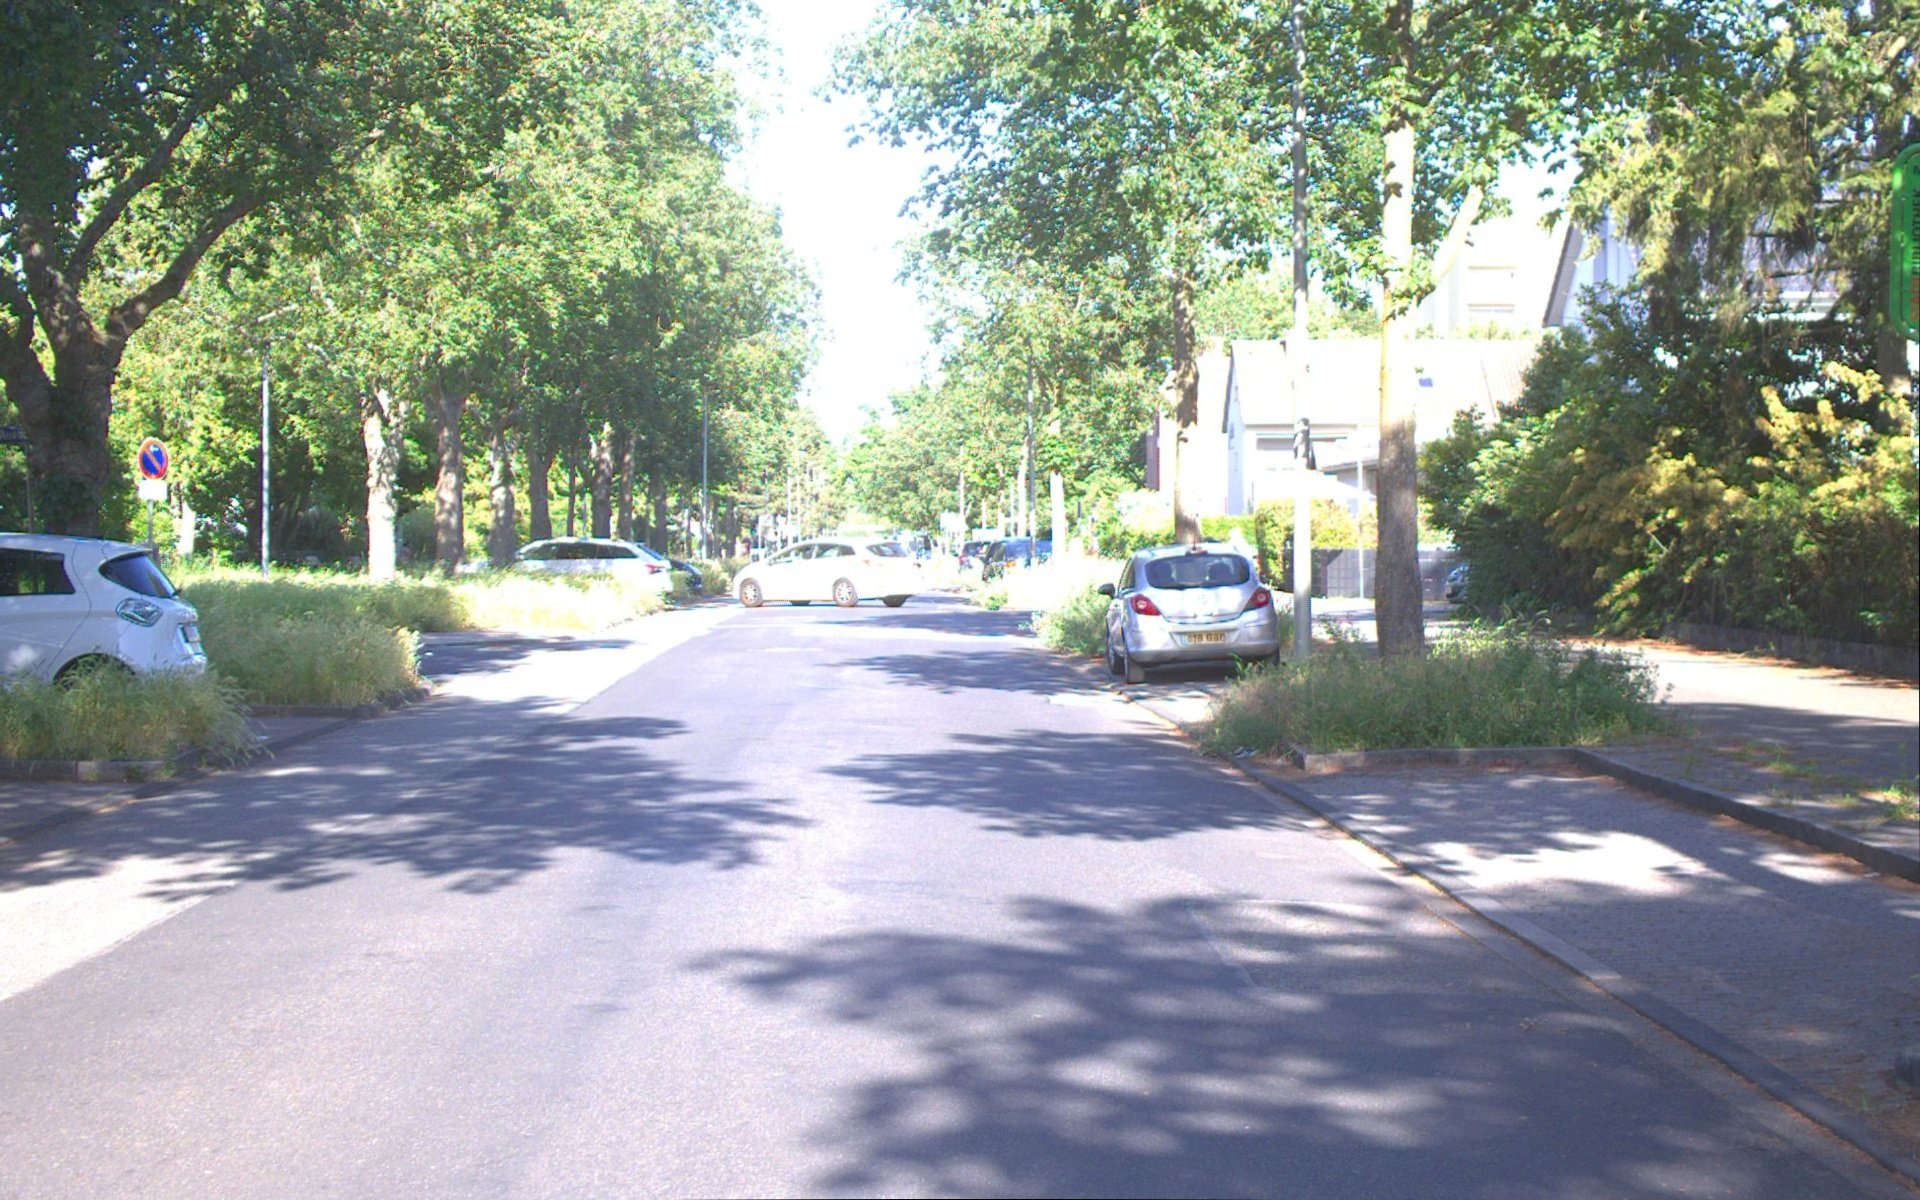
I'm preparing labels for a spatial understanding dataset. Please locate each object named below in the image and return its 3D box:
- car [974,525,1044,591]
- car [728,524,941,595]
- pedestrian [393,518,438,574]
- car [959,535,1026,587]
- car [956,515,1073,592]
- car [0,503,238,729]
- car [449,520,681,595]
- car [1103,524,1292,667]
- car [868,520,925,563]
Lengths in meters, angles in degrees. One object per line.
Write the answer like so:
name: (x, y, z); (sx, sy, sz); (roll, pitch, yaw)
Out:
car: (1.264, -1.114, 90.708); (1.610, 1.616, 4.382); (3, 1, -1)
car: (-2.704, -0.887, 73.565); (4.219, 1.450, 1.996); (1, 1, 36)
pedestrian: (-18.423, -1.820, 116.328); (1.224, 1.821, 1.551); (2, 0, -18)
car: (1.094, -1.322, 117.908); (1.993, 1.722, 4.000); (-1, 0, -4)
car: (1.208, -1.076, 79.061); (1.993, 1.616, 4.383); (3, 1, -7)
car: (-7.727, 0.079, 26.420); (3.986, 1.655, 1.967); (1, 1, -2)
car: (-8.318, -0.904, 72.682); (4.671, 1.498, 2.000); (1, 1, 0)
car: (2.729, -0.060, 38.745); (1.994, 1.505, 3.999); (-1, 0, 6)
car: (-2.456, -2.241, 131.913); (1.993, 1.503, 3.659); (3, 1, -3)
